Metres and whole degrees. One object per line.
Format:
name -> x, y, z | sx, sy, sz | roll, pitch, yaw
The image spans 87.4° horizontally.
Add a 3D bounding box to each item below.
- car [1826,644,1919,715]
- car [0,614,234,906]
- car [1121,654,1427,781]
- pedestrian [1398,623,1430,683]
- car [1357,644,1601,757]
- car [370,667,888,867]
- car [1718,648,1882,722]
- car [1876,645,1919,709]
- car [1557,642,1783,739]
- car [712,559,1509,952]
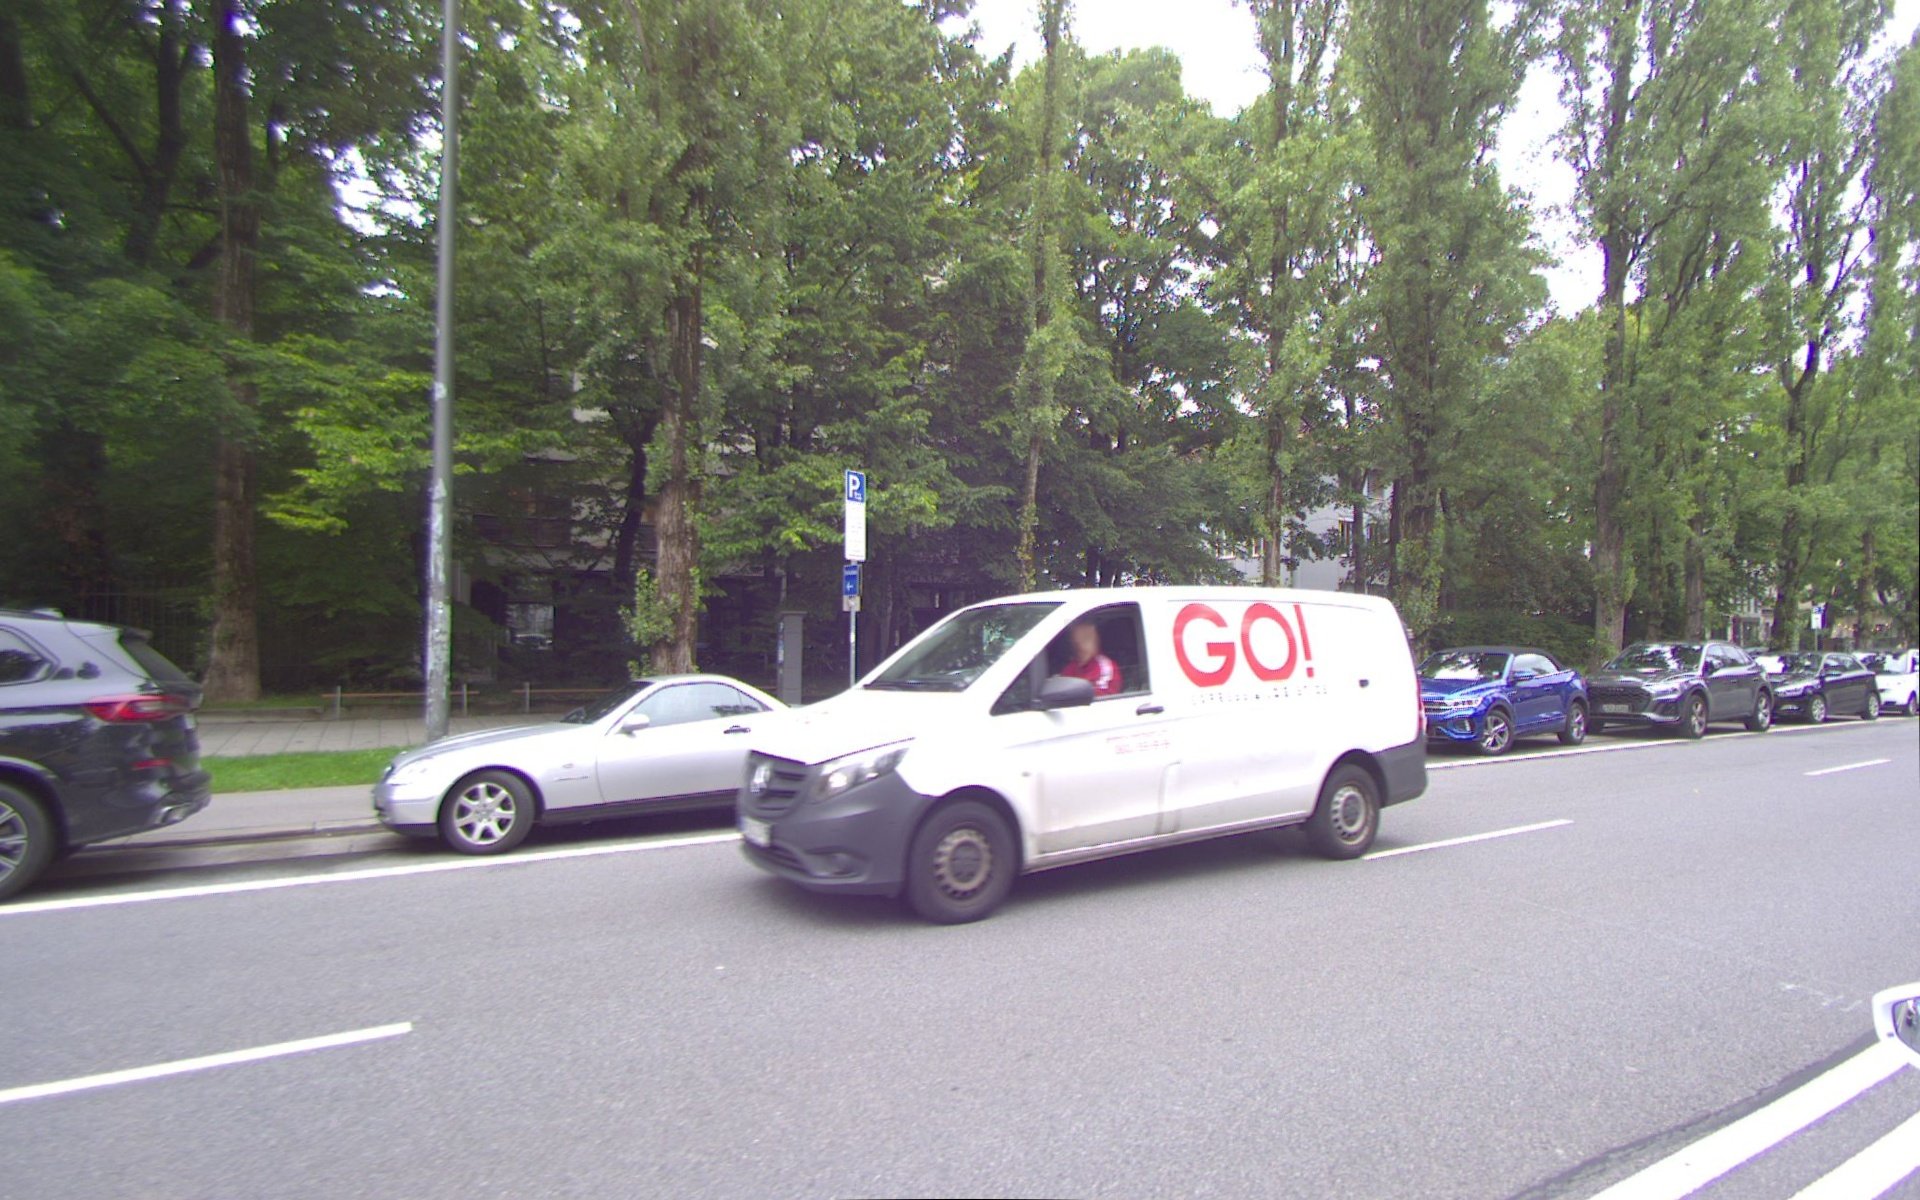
car -> 22.269, 1.854, 23.988 | 3.404, 1.572, 1.403 | 2, -2, -30
car -> -7.215, 0.949, 5.849 | 4.666, 1.680, 1.870 | 1, -4, -32
car -> 4.171, 1.437, 13.191 | 3.960, 1.431, 1.676 | 2, -4, -32
pedestrian -> 13.458, 1.564, 29.771 | 0.633, 1.762, 0.596 | 1, -2, -31
car -> 8.124, 1.471, 15.618 | 4.079, 1.538, 1.731 | 2, -4, -36
car -> -2.740, 1.264, 8.643 | 3.981, 1.321, 1.573 | 2, -4, -30
car -> 17.974, 1.784, 21.459 | 3.826, 1.451, 1.532 | 2, -5, -32
car -> 25.531, 1.973, 25.977 | 3.956, 1.568, 1.699 | 2, -3, -32
car -> 12.902, 1.587, 18.191 | 4.290, 1.568, 1.782 | 2, -5, -32
car -> 1.279, 0.886, 7.309 | 5.629, 1.916, 2.173 | 2, -4, -30
